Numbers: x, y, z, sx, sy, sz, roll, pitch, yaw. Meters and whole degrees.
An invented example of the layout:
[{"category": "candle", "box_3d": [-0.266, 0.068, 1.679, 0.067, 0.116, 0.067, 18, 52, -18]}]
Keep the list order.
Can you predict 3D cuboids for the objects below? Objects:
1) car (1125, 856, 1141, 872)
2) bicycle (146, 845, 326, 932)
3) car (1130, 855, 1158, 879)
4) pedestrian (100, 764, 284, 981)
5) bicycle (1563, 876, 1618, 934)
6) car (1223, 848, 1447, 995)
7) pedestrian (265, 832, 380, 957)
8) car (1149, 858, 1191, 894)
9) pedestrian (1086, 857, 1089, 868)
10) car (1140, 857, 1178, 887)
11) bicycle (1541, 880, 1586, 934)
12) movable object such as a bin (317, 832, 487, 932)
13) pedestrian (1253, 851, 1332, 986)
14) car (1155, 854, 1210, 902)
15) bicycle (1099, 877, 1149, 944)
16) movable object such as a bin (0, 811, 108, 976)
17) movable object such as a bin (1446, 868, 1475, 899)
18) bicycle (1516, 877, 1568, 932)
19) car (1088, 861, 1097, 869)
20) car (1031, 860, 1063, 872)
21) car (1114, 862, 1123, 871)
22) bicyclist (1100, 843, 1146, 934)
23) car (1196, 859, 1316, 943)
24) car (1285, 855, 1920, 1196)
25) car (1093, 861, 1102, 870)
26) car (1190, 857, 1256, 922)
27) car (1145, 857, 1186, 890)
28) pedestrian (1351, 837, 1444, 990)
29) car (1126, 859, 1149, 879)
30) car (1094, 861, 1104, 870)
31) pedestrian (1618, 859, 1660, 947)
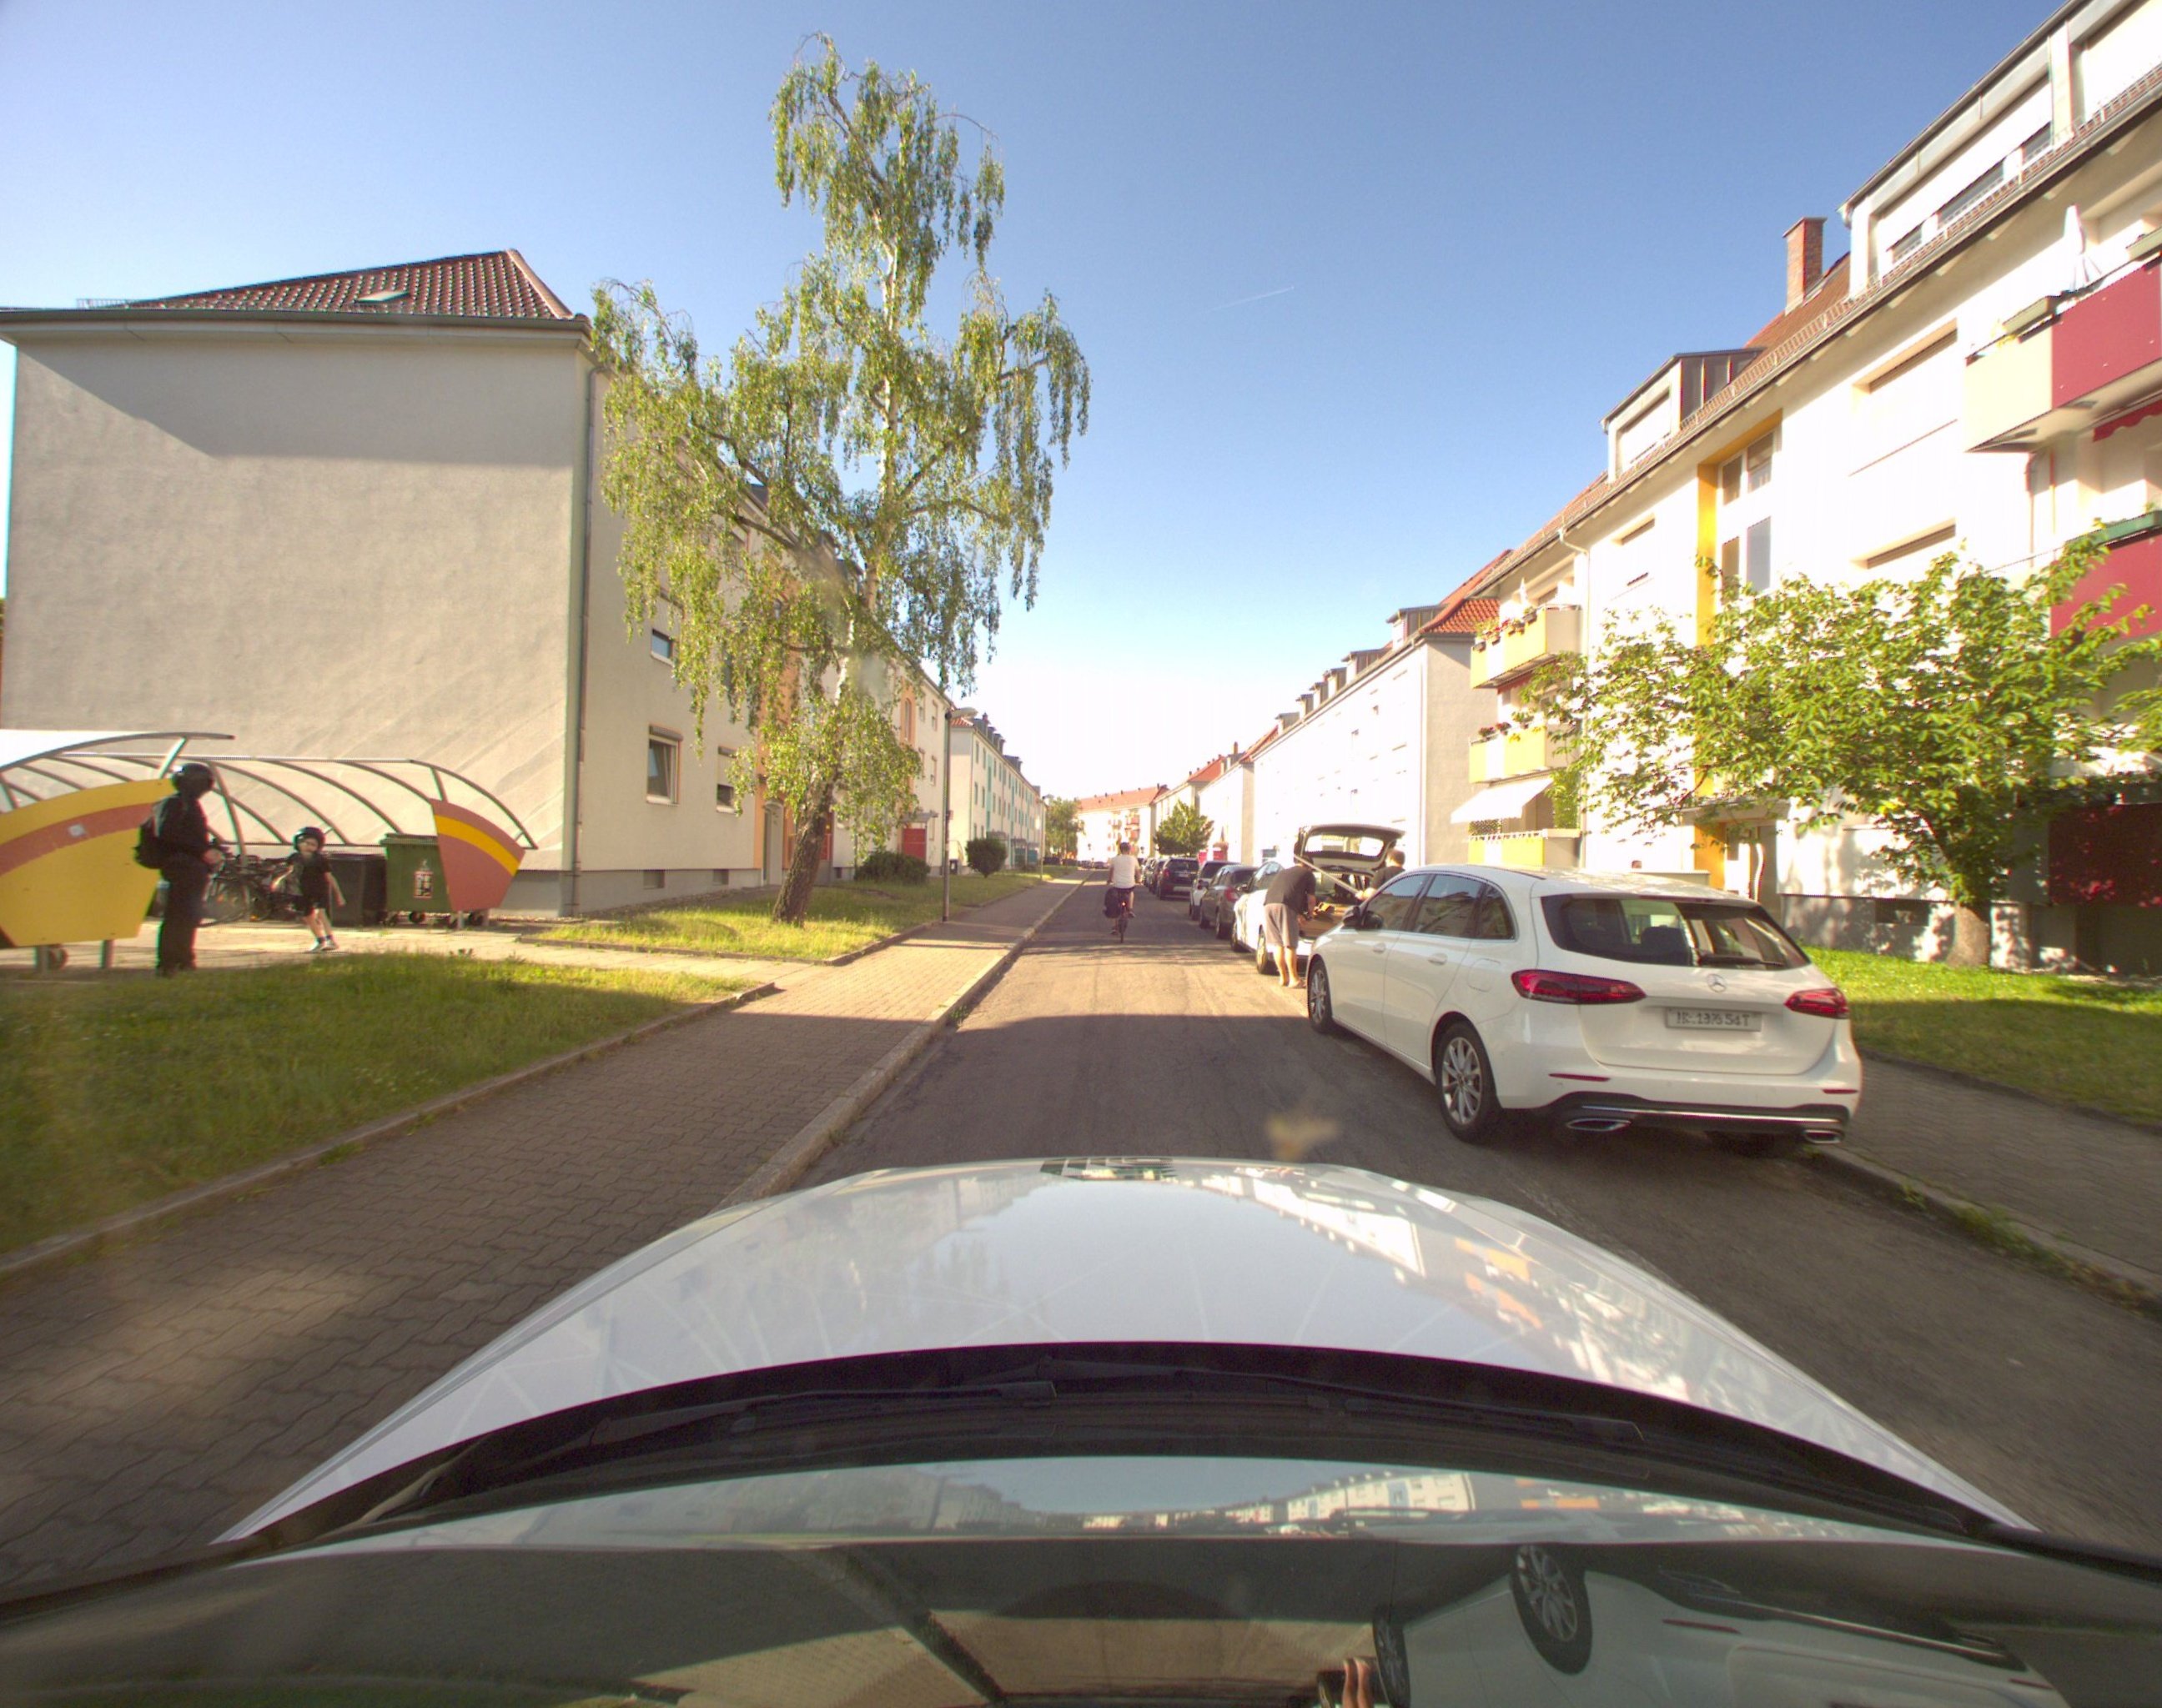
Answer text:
[{"category": "car", "box_3d": [6.092, 1.150, 95.560, 1.669, 1.739, 3.942, 2, 0, 0]}, {"category": "bicycle", "box_3d": [-11.814, 0.453, 11.486, 0.530, 1.117, 1.850, 2, 0, 2]}, {"category": "car", "box_3d": [4.701, 0.992, 61.264, 1.855, 1.668, 4.128, 3, -1, 2]}, {"category": "pedestrian", "box_3d": [-7.838, 0.159, 7.215, 0.802, 1.824, 0.718, 0, -1, 2]}, {"category": "bicycle", "box_3d": [10.622, 1.034, 17.010, 0.401, 1.132, 1.274, 0, 0, 3]}, {"category": "car", "box_3d": [3.386, 0.793, 11.976, 1.985, 1.613, 5.000, 2, 0, 4]}, {"category": "pedestrian", "box_3d": [-8.263, 0.428, 8.891, 0.683, 1.317, 0.576, 0, -1, 2]}, {"category": "car", "box_3d": [3.996, 0.951, 36.938, 1.635, 1.498, 4.159, 0, 0, 3]}, {"category": "pedestrian", "box_3d": [1.011, 1.288, 125.112, 0.432, 1.574, 0.543, 0, -1, 1]}, {"category": "car", "box_3d": [4.592, 1.020, 48.591, 1.745, 1.617, 4.451, 3, 0, 0]}, {"category": "bicycle", "box_3d": [9.676, 1.059, 16.338, 0.737, 1.047, 0.239, -1, -1, 3]}, {"category": "movable object such as a bin", "box_3d": [-9.925, 0.390, 11.982, 1.382, 1.336, 1.228, 2, 0, 1]}, {"category": "pedestrian", "box_3d": [2.561, 0.752, 9.927, 0.737, 1.575, 0.880, -1, 0, 1]}, {"category": "car", "box_3d": [3.898, 0.884, 31.840, 1.776, 1.648, 4.472, 2, 0, 3]}, {"category": "bicycle", "box_3d": [0.773, 1.015, 15.287, 0.806, 1.128, 2.101, 0, 0, -1]}, {"category": "movable object such as a bin", "box_3d": [-9.708, 0.327, 7.250, 1.080, 1.406, 0.813, 1, 0, 2]}, {"category": "movable object such as a bin", "box_3d": [12.813, 1.005, 27.501, 0.640, 1.035, 0.757, -1, -3, 2]}, {"category": "bicycle", "box_3d": [9.733, 1.045, 17.246, 0.401, 1.087, 1.300, -1, 0, 3]}, {"category": "car", "box_3d": [1.965, 1.925, 139.747, 1.465, 1.335, 3.138, -3, 0, -2]}, {"category": "car", "box_3d": [-4.600, 1.591, 110.094, 4.221, 1.638, 1.581, 1, 0, -3]}, {"category": "car", "box_3d": [6.684, 2.185, 144.860, 1.377, 1.497, 3.076, 1, 0, 0]}, {"category": "bicyclist", "box_3d": [0.769, 0.623, 15.207, 0.806, 1.643, 0.898, 0, -1, -1]}, {"category": "car", "box_3d": [3.551, 0.884, 17.186, 1.688, 1.491, 3.985, 3, 0, 1]}, {"category": "car", "box_3d": [2.947, 0.797, 5.949, 1.766, 1.505, 4.480, 2, 0, 0]}, {"category": "car", "box_3d": [2.648, 1.884, 133.065, 1.464, 1.335, 3.140, 1, 0, 0]}, {"category": "car", "box_3d": [3.707, 0.887, 21.661, 1.472, 1.529, 2.945, 3, 0, 6]}, {"category": "car", "box_3d": [4.353, 0.977, 42.540, 1.684, 1.575, 4.435, 2, 0, 1]}, {"category": "pedestrian", "box_3d": [3.617, 0.665, 9.349, 0.816, 1.687, 0.604, -1, 0, 1]}, {"category": "car", "box_3d": [4.978, 1.289, 72.047, 1.695, 1.671, 4.379, 2, 0, 0]}, {"category": "car", "box_3d": [2.866, 1.799, 129.036, 1.464, 1.335, 3.140, 1, 0, 0]}, {"category": "pedestrian", "box_3d": [9.542, 0.832, 13.927, 0.449, 1.495, 0.360, 0, -2, 2]}]
